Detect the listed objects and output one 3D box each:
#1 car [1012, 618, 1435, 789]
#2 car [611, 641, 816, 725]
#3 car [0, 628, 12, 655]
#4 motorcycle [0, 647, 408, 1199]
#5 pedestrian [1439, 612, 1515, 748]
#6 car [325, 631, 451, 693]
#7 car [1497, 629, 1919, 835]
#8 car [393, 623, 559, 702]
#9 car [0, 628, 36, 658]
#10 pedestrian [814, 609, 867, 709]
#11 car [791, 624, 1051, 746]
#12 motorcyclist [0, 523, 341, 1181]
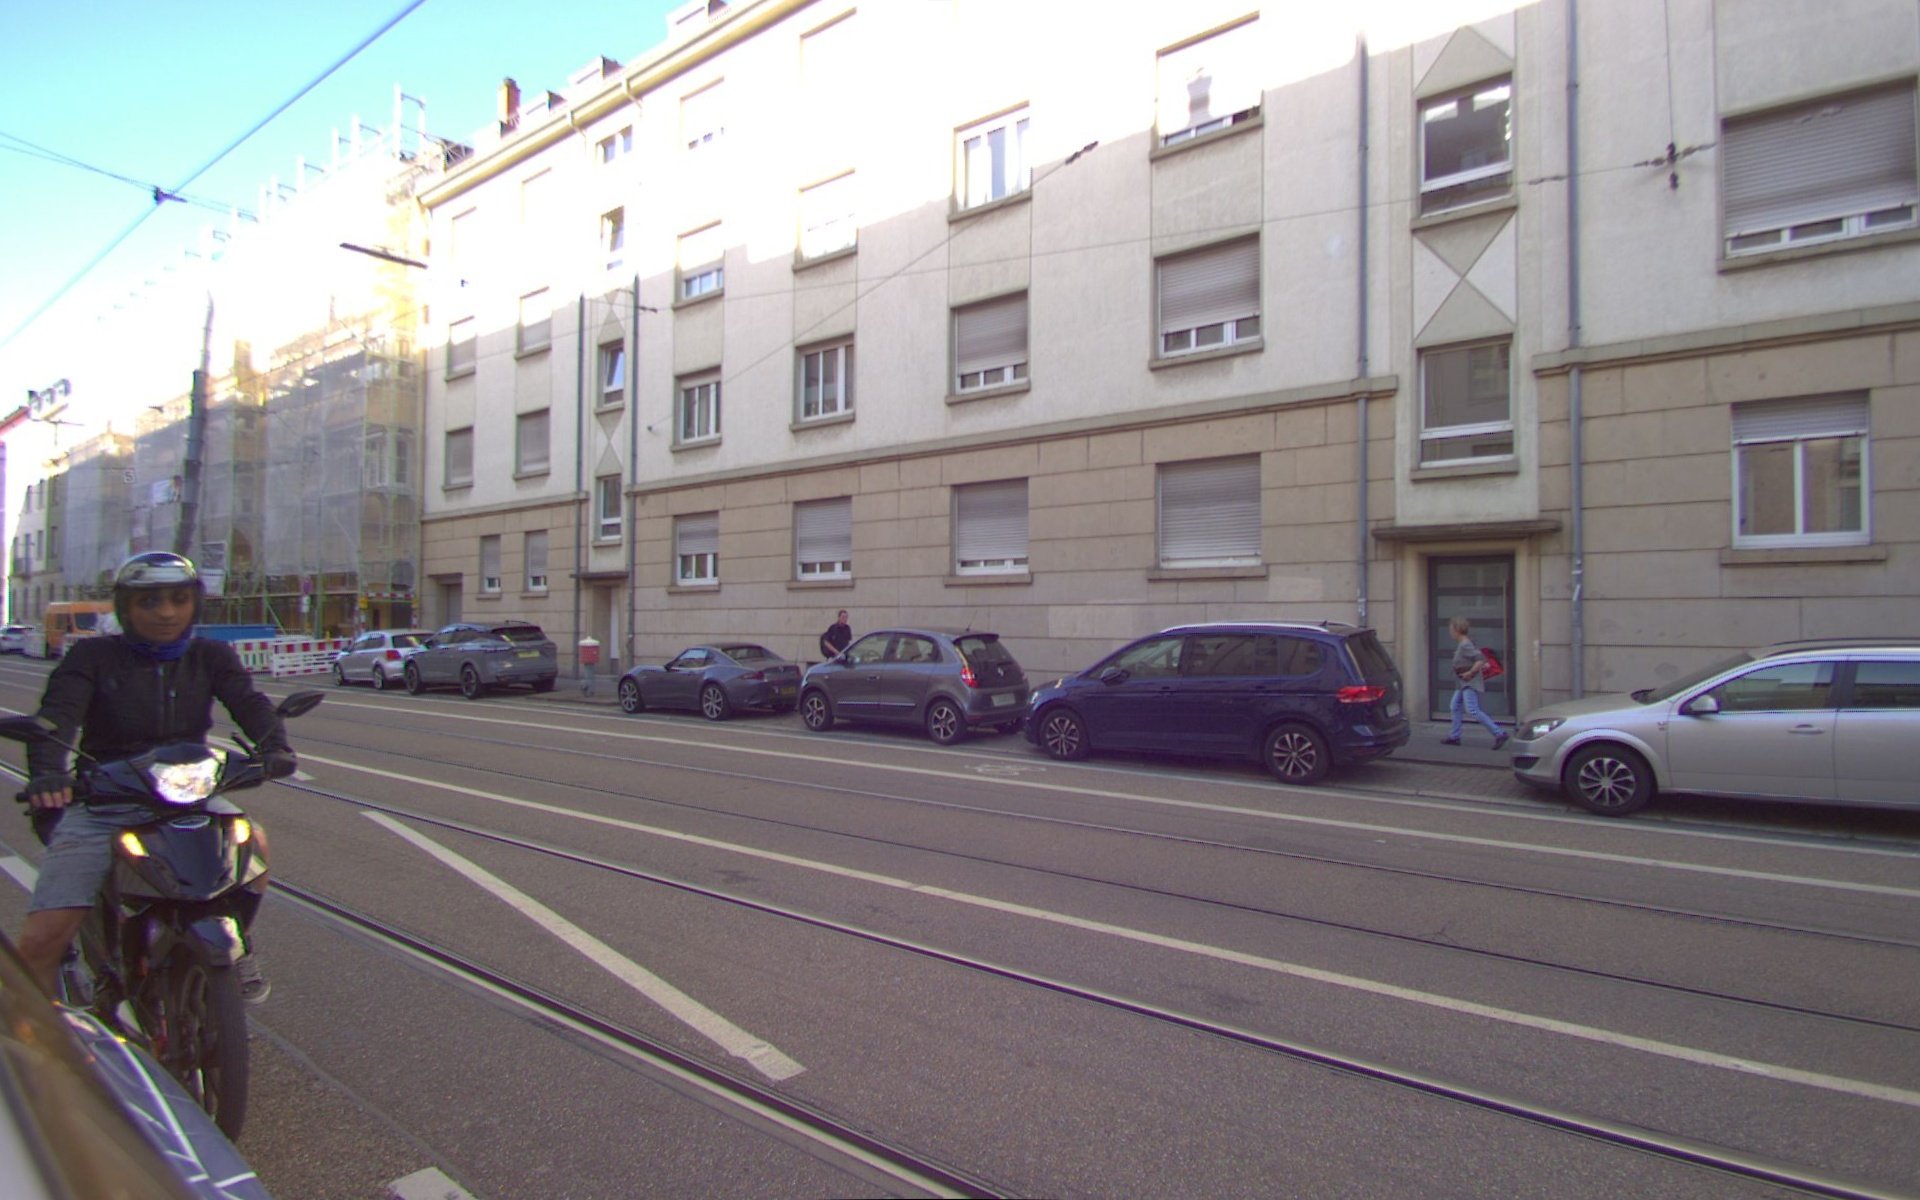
[{"bbox_3d":[2.896,1.032,11.670,4.383,1.611,1.779,-1,-1,38],"label":"car"},{"bbox_3d":[-4.311,1.365,17.494,3.681,1.244,1.502,-1,-1,38],"label":"car"},{"bbox_3d":[-54.579,2.323,56.810,3.964,1.498,1.662,-2,-1,42],"label":"car"},{"bbox_3d":[-2.635,0.817,3.231,2.272,1.302,0.781,-2,-3,41],"label":"motorcycle"},{"bbox_3d":[6.160,0.929,12.057,0.693,1.553,0.563,-2,-3,39],"label":"pedestrian"},{"bbox_3d":[-14.381,1.497,25.390,3.506,1.423,1.524,-1,-1,38],"label":"car"},{"bbox_3d":[7.130,1.002,8.496,4.383,1.489,1.779,-1,-1,38],"label":"car"},{"bbox_3d":[-10.880,1.333,22.653,4.201,1.611,1.675,-1,-1,38],"label":"car"},{"bbox_3d":[-50.063,2.268,53.333,3.964,1.498,1.662,-2,-1,42],"label":"car"},{"bbox_3d":[-2.117,1.040,17.964,0.729,1.722,0.597,-2,-3,39],"label":"pedestrian"},{"bbox_3d":[-0.625,1.132,14.648,3.535,1.539,1.659,-1,-1,38],"label":"car"},{"bbox_3d":[-2.539,0.656,3.153,0.899,1.668,0.781,-2,-3,41],"label":"motorcyclist"}]
